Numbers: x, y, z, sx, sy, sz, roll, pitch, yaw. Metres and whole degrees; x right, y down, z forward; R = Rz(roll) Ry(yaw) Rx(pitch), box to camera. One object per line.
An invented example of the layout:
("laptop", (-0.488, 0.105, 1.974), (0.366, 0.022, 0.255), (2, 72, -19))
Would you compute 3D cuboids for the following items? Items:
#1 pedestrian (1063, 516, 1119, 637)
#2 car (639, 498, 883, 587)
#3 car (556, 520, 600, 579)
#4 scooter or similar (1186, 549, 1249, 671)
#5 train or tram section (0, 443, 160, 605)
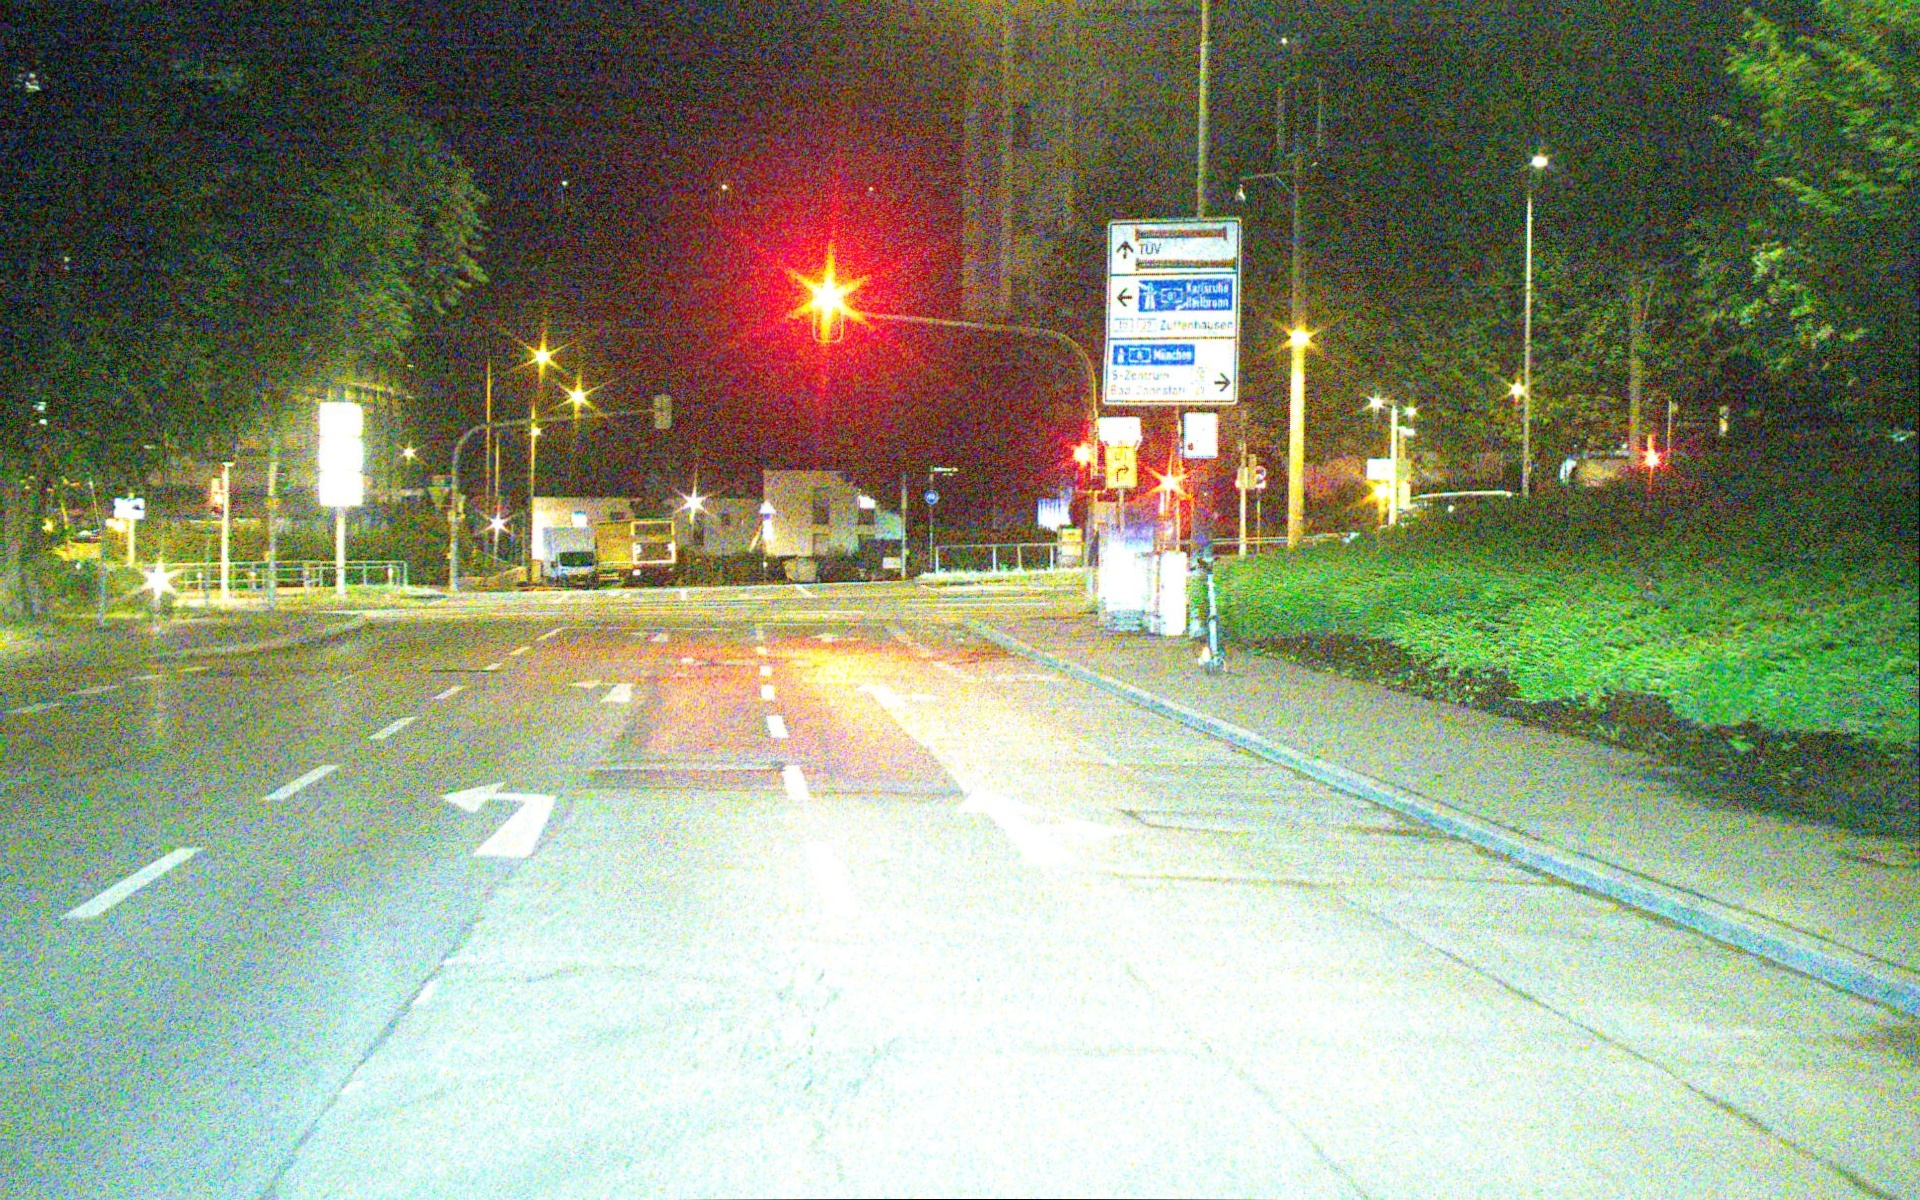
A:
("pedestrian", (2.144, -0.388, 56.338), (0.737, 1.975, 0.626), (0, 1, -20))
("car", (-10.793, -3.146, 186.129), (12.380, 4.693, 4.811), (0, 1, -17))
("car", (-19.226, -2.549, 172.956), (1.993, 2.963, 4.001), (0, 1, -9))
("scooter or similar", (2.759, 0.098, 36.906), (0.494, 1.257, 1.320), (-2, 1, -2))
("train or tram section", (-29.457, -1.727, 84.010), (19.175, 3.810, 2.923), (-1, 1, 3))
